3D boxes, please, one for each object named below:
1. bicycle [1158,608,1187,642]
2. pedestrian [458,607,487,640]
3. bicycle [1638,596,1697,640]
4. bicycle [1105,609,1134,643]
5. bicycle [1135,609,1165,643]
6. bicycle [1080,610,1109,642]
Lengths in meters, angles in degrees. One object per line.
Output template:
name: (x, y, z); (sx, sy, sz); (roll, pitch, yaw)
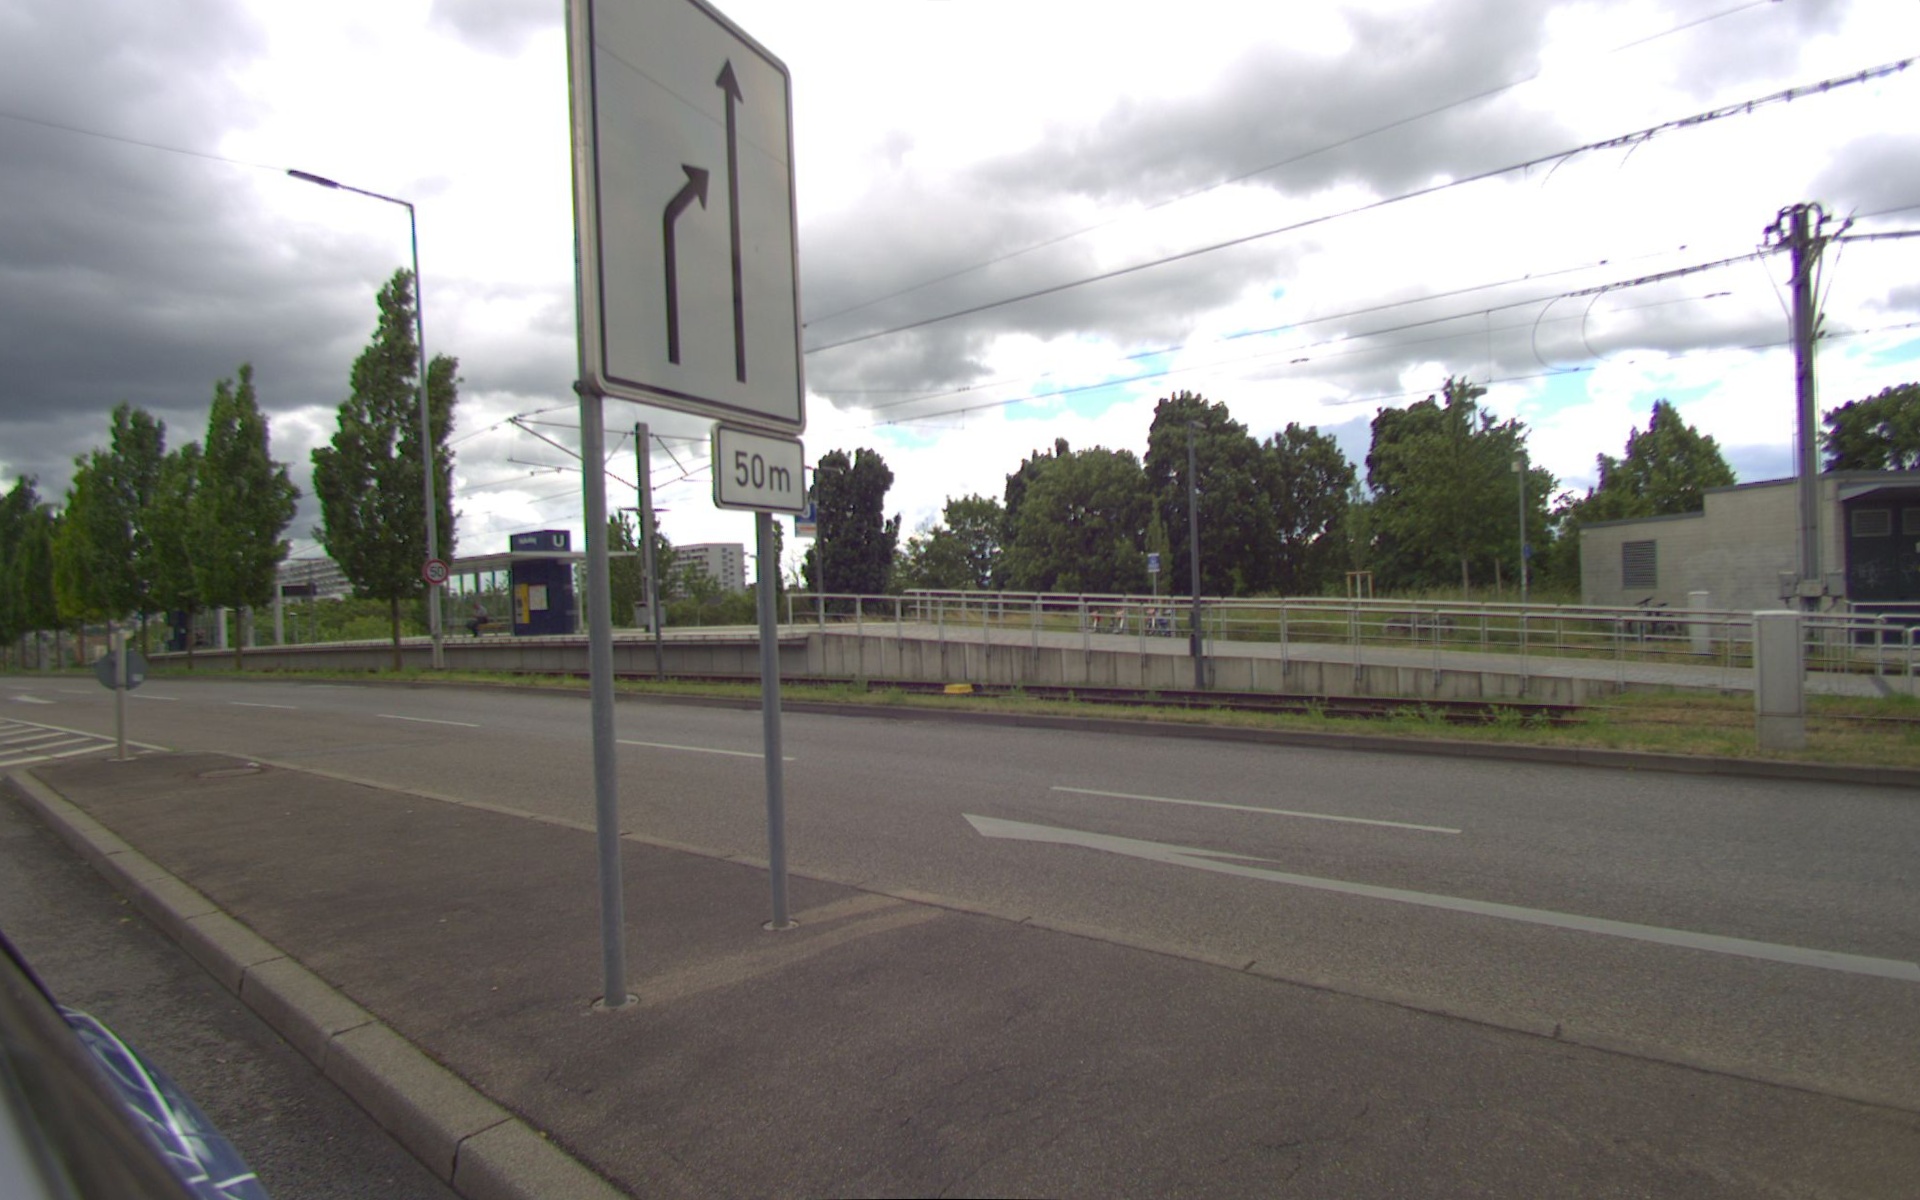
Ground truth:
bicycle: (7.043, 0.819, 33.468); (0.490, 1.095, 1.466); (-2, -1, 30)
pedestrian: (-18.254, 0.883, 37.874); (0.781, 1.211, 0.656); (-2, -1, 33)
bicycle: (18.191, 0.460, 26.059); (0.486, 1.095, 1.480); (-1, -1, 3)
bicycle: (5.437, 0.871, 34.459); (0.490, 1.095, 1.466); (-2, -1, 30)
bicycle: (6.378, 0.852, 33.947); (0.490, 1.095, 1.466); (-2, -1, 30)
bicycle: (4.680, 0.892, 35.161); (0.490, 1.095, 1.466); (-2, -1, 30)
